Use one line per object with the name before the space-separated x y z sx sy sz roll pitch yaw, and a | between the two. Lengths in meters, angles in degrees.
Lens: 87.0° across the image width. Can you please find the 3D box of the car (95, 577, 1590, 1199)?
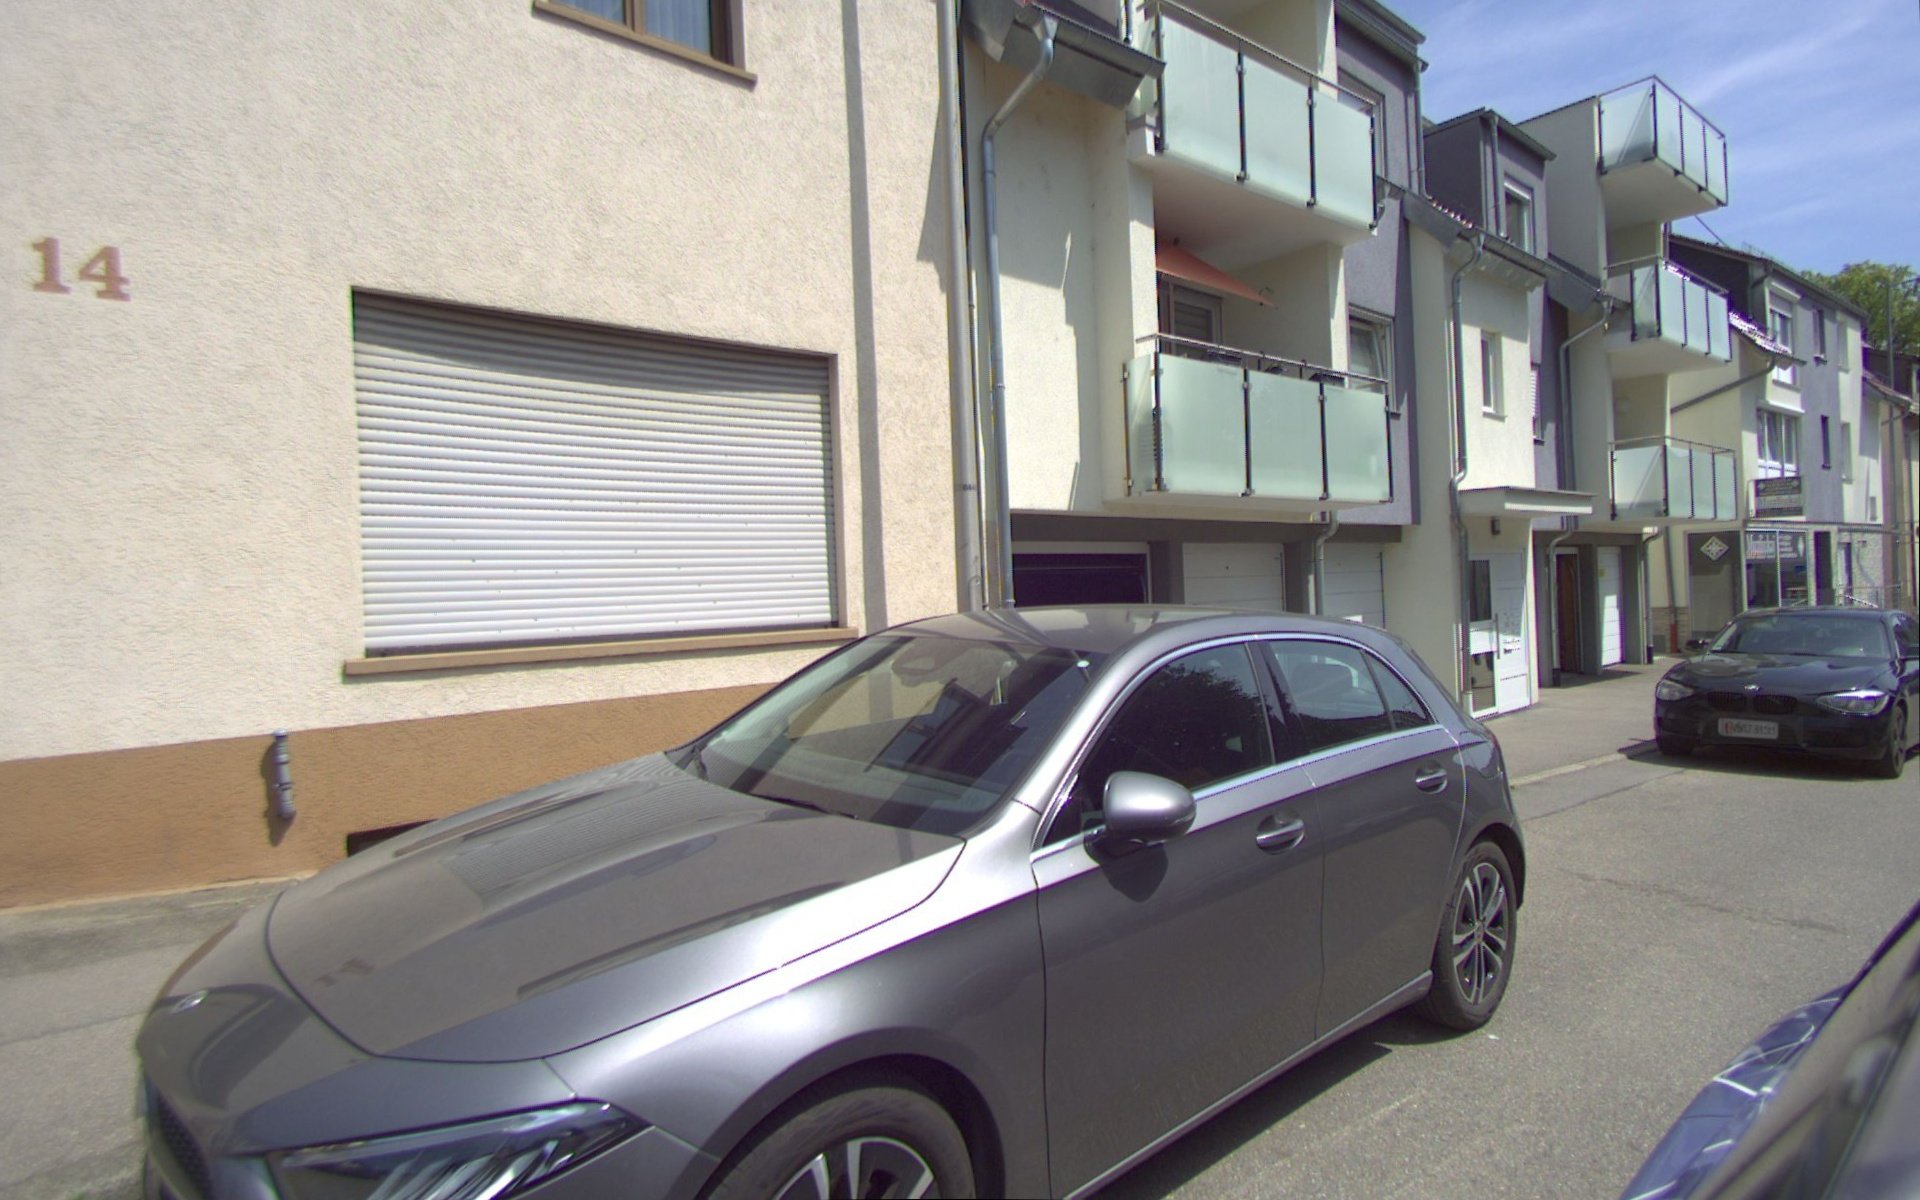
car | 0.195 0.677 3.113 4.335 1.420 1.797 0 0 -41

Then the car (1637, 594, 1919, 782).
car | 8.485 0.678 9.947 4.211 1.442 1.802 -1 0 -37
